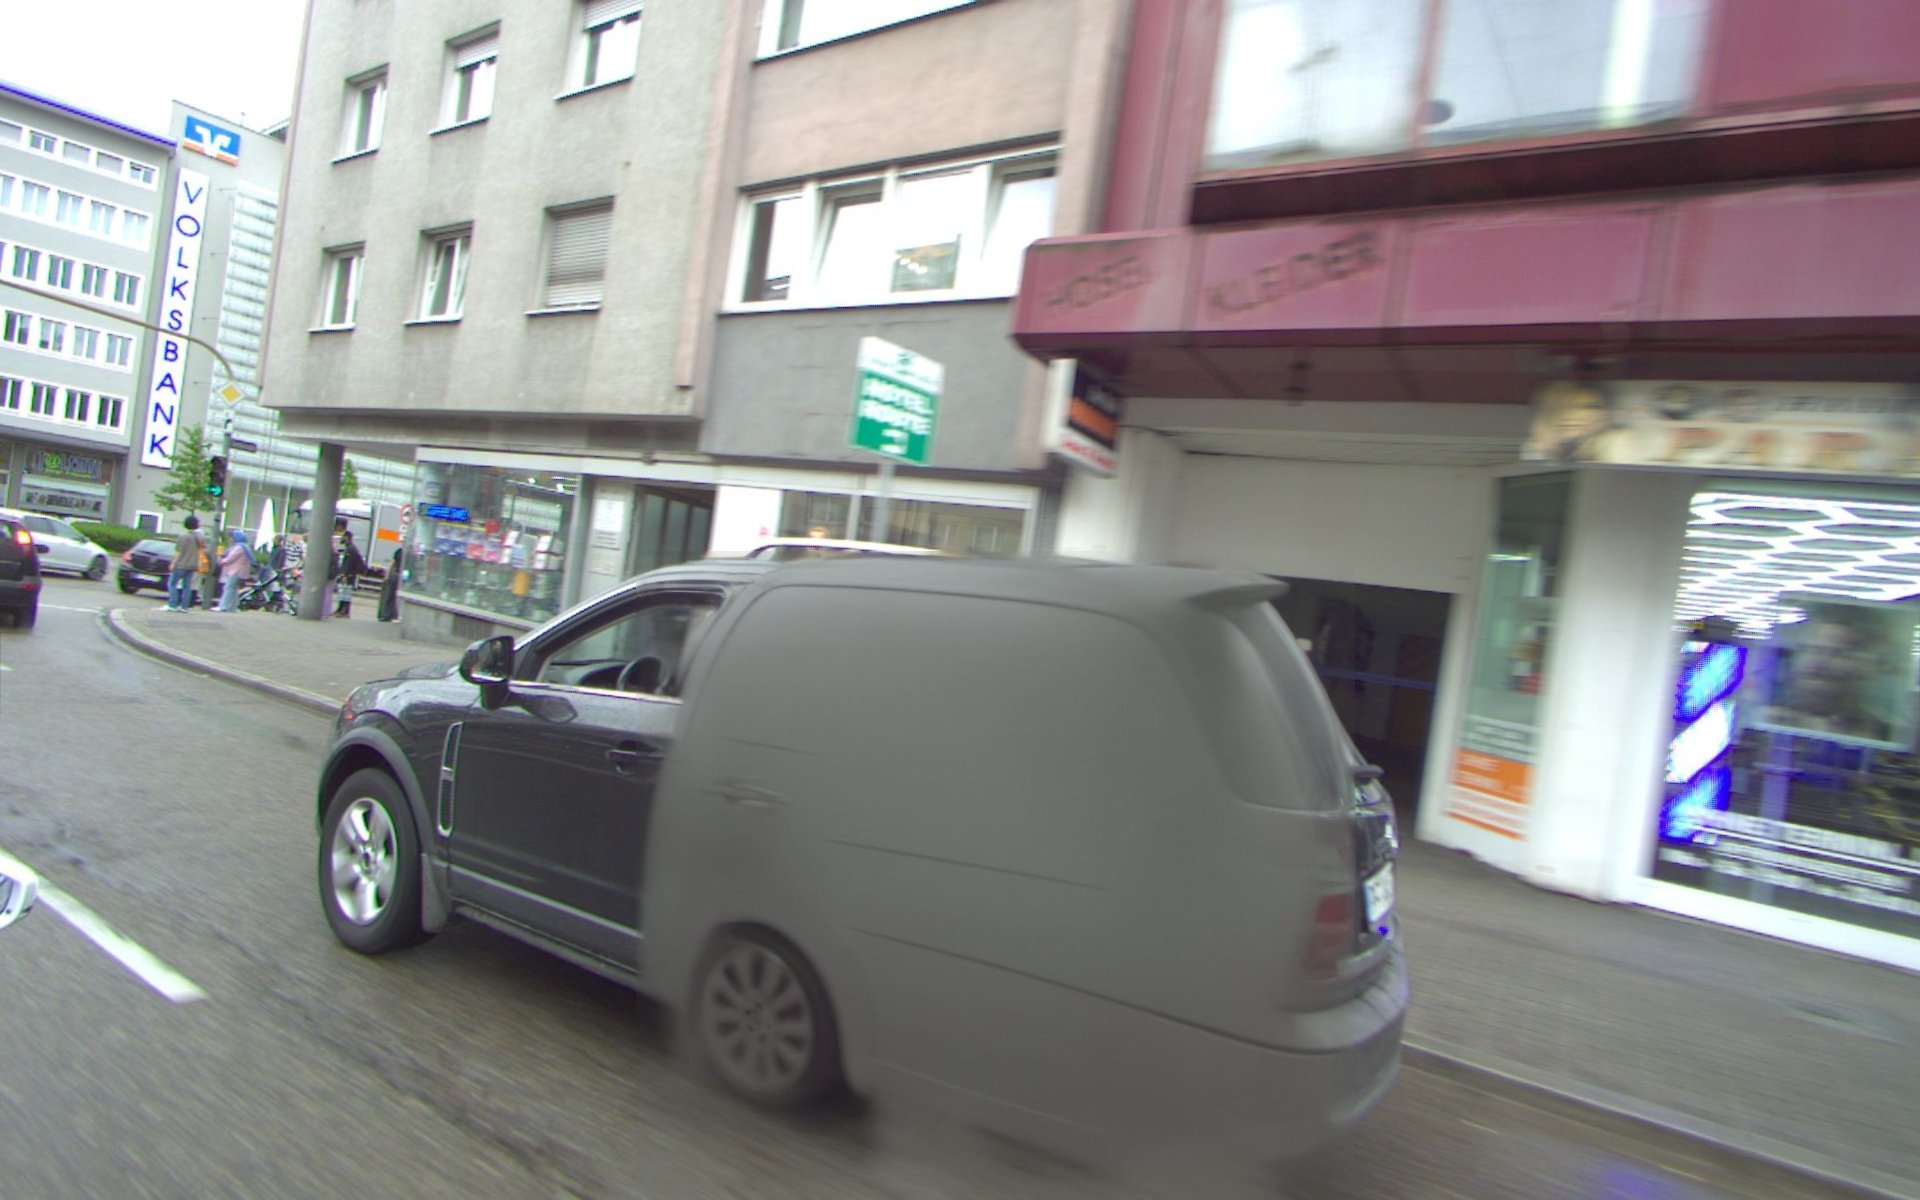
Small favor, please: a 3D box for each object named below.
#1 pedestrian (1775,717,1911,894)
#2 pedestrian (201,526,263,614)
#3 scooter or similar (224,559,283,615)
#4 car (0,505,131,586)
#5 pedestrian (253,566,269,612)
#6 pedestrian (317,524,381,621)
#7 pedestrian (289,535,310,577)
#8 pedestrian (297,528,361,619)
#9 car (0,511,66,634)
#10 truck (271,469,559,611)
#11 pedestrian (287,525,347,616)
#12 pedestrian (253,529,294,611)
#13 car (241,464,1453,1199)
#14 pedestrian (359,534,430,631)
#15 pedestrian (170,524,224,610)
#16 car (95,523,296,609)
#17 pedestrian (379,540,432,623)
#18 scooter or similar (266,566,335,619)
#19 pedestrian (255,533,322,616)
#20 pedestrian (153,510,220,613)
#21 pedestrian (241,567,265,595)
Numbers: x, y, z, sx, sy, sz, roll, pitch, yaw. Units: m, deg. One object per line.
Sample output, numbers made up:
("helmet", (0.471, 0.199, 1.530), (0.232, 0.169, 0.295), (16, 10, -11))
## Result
("pedestrian", (8.154, 1.864, 9.329), (0.692, 1.446, 0.710), (8, 0, 32))
("pedestrian", (-14.469, -0.580, 20.008), (0.734, 1.654, 0.595), (4, -1, -16))
("scooter or similar", (-15.766, -0.292, 22.445), (0.965, 1.123, 0.648), (6, 0, -39))
("car", (-22.878, -1.376, 24.598), (1.923, 1.591, 3.998), (11, -2, -6))
("pedestrian", (-15.976, -0.260, 22.995), (0.259, 1.013, 0.467), (3, 2, -35))
("pedestrian", (-13.122, -0.587, 21.616), (0.722, 1.954, 0.817), (6, -1, 40))
("pedestrian", (-14.132, -0.952, 21.520), (0.219, 0.856, 0.437), (11, -3, -37))
("pedestrian", (-12.864, -0.539, 20.523), (0.609, 1.743, 0.835), (4, -2, 40))
("car", (-13.387, -0.556, 13.060), (3.711, 1.436, 1.720), (6, -3, 35))
("truck", (-23.833, -2.428, 44.958), (2.811, 4.382, 10.750), (8, -2, 36))
("pedestrian", (-13.914, -0.624, 21.786), (0.648, 1.888, 0.835), (3, 0, 36))
("pedestrian", (-16.266, -0.695, 23.846), (0.613, 1.890, 0.778), (4, -2, -42))
("car", (-0.641, 0.666, 3.898), (4.230, 1.808, 1.909), (9, 1, 32))
("pedestrian", (-12.004, -0.357, 21.376), (0.822, 1.886, 0.667), (9, -2, 12))
("pedestrian", (-15.238, -0.655, 20.096), (0.825, 1.658, 0.539), (3, 0, 32))
("car", (-18.951, -0.767, 25.214), (1.923, 1.591, 3.999), (11, -2, -4))
("pedestrian", (-11.488, -0.376, 20.840), (0.826, 1.658, 0.615), (4, 1, 36))
("scooter or similar", (-13.681, -0.157, 20.879), (1.031, 0.998, 0.771), (4, -2, 32))
("pedestrian", (-15.244, -0.582, 22.837), (1.031, 1.744, 0.829), (6, 0, -41))
("pedestrian", (-13.645, -0.669, 17.766), (0.619, 1.712, 0.778), (6, -1, -22))
("pedestrian", (-15.781, -0.421, 22.456), (0.369, 0.578, 0.453), (6, 0, -39))
